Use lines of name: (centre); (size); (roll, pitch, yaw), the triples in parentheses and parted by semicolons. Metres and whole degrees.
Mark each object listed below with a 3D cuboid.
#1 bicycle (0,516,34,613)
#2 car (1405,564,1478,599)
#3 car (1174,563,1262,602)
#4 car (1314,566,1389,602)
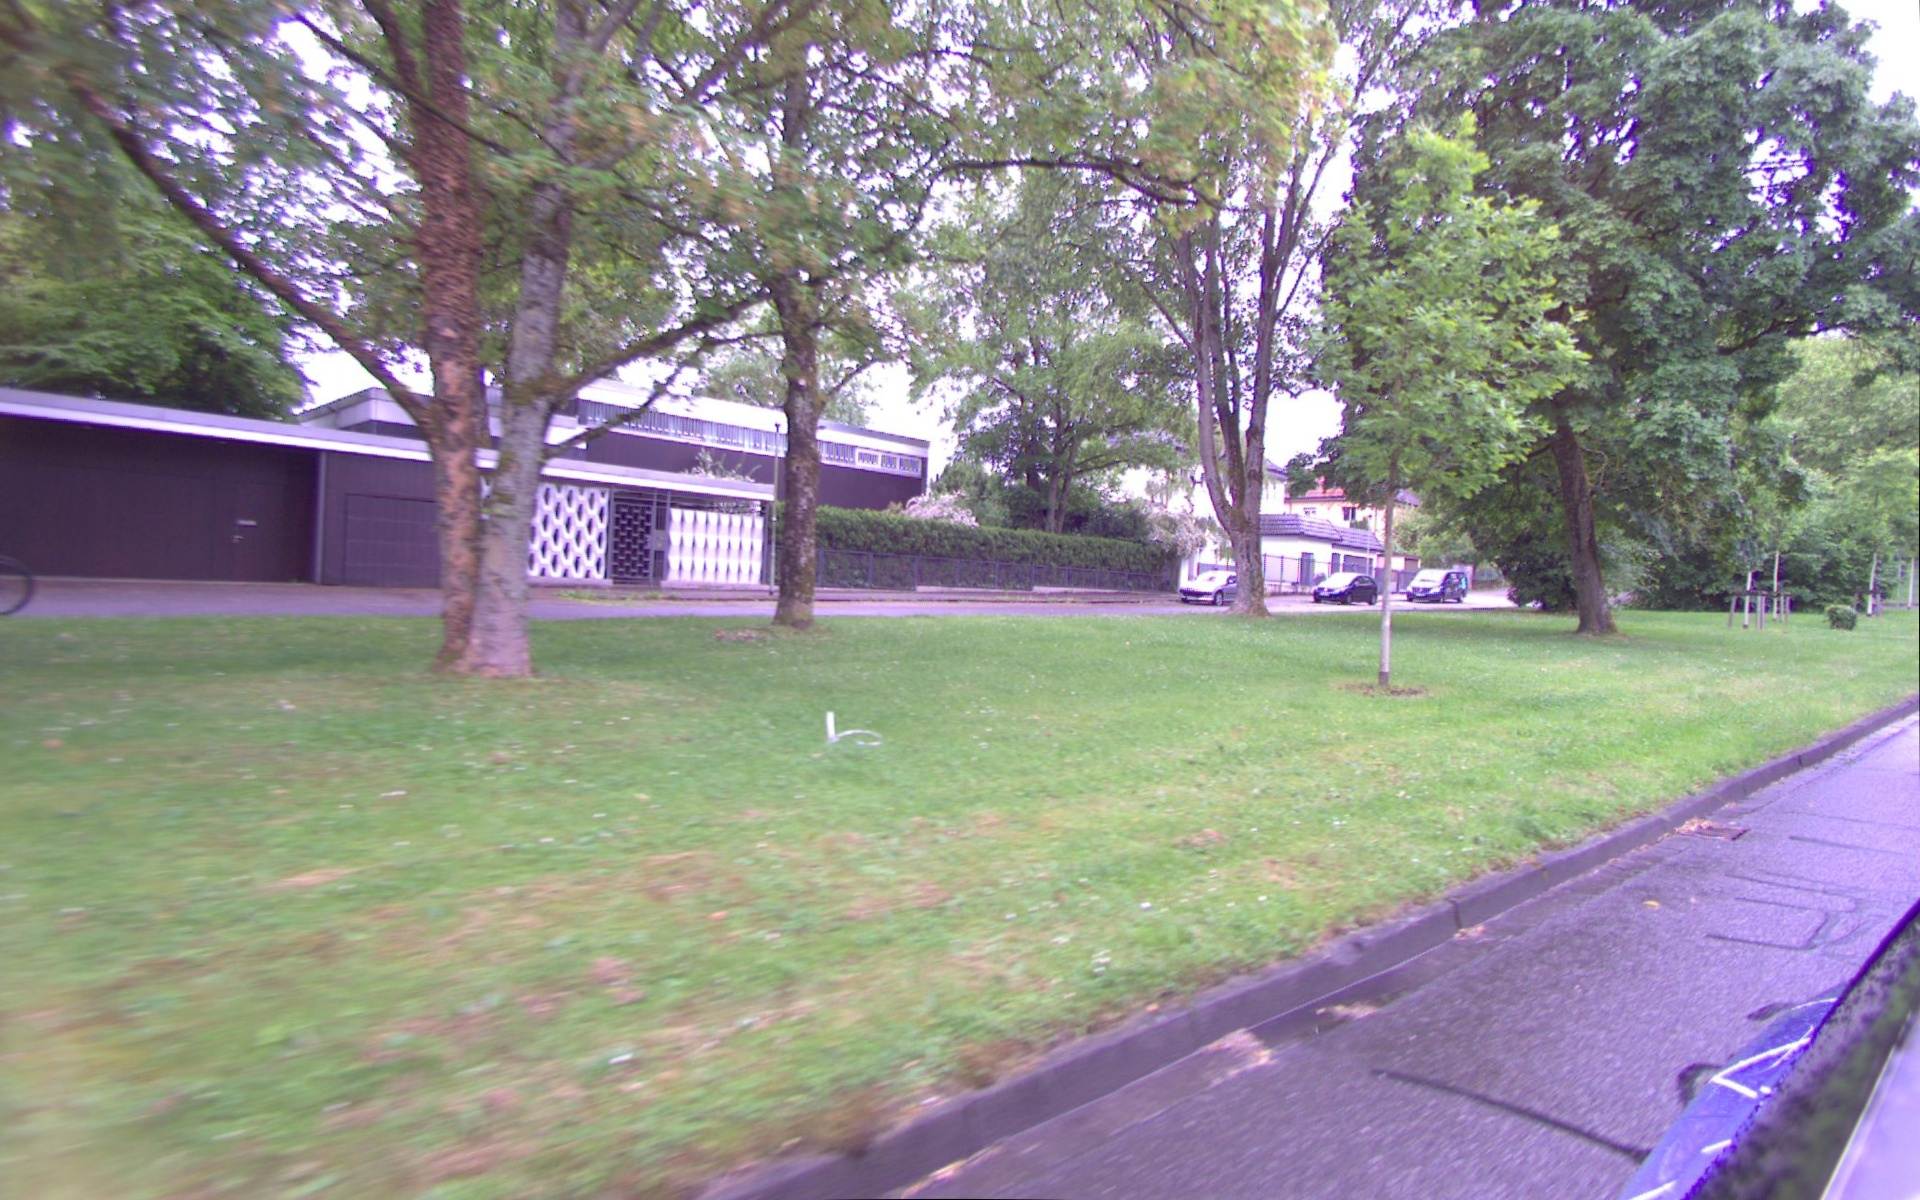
bicycle: (-12.033, -0.425, 11.777); (1.831, 1.152, 0.596); (0, 2, -41)
car: (27.558, -1.093, 57.821); (4.987, 1.901, 2.161); (-2, 4, -44)
car: (10.394, -0.705, 40.657); (3.649, 1.392, 1.684); (-1, 5, -44)
car: (19.021, -0.807, 49.153); (3.969, 1.644, 1.904); (-2, 4, -44)
